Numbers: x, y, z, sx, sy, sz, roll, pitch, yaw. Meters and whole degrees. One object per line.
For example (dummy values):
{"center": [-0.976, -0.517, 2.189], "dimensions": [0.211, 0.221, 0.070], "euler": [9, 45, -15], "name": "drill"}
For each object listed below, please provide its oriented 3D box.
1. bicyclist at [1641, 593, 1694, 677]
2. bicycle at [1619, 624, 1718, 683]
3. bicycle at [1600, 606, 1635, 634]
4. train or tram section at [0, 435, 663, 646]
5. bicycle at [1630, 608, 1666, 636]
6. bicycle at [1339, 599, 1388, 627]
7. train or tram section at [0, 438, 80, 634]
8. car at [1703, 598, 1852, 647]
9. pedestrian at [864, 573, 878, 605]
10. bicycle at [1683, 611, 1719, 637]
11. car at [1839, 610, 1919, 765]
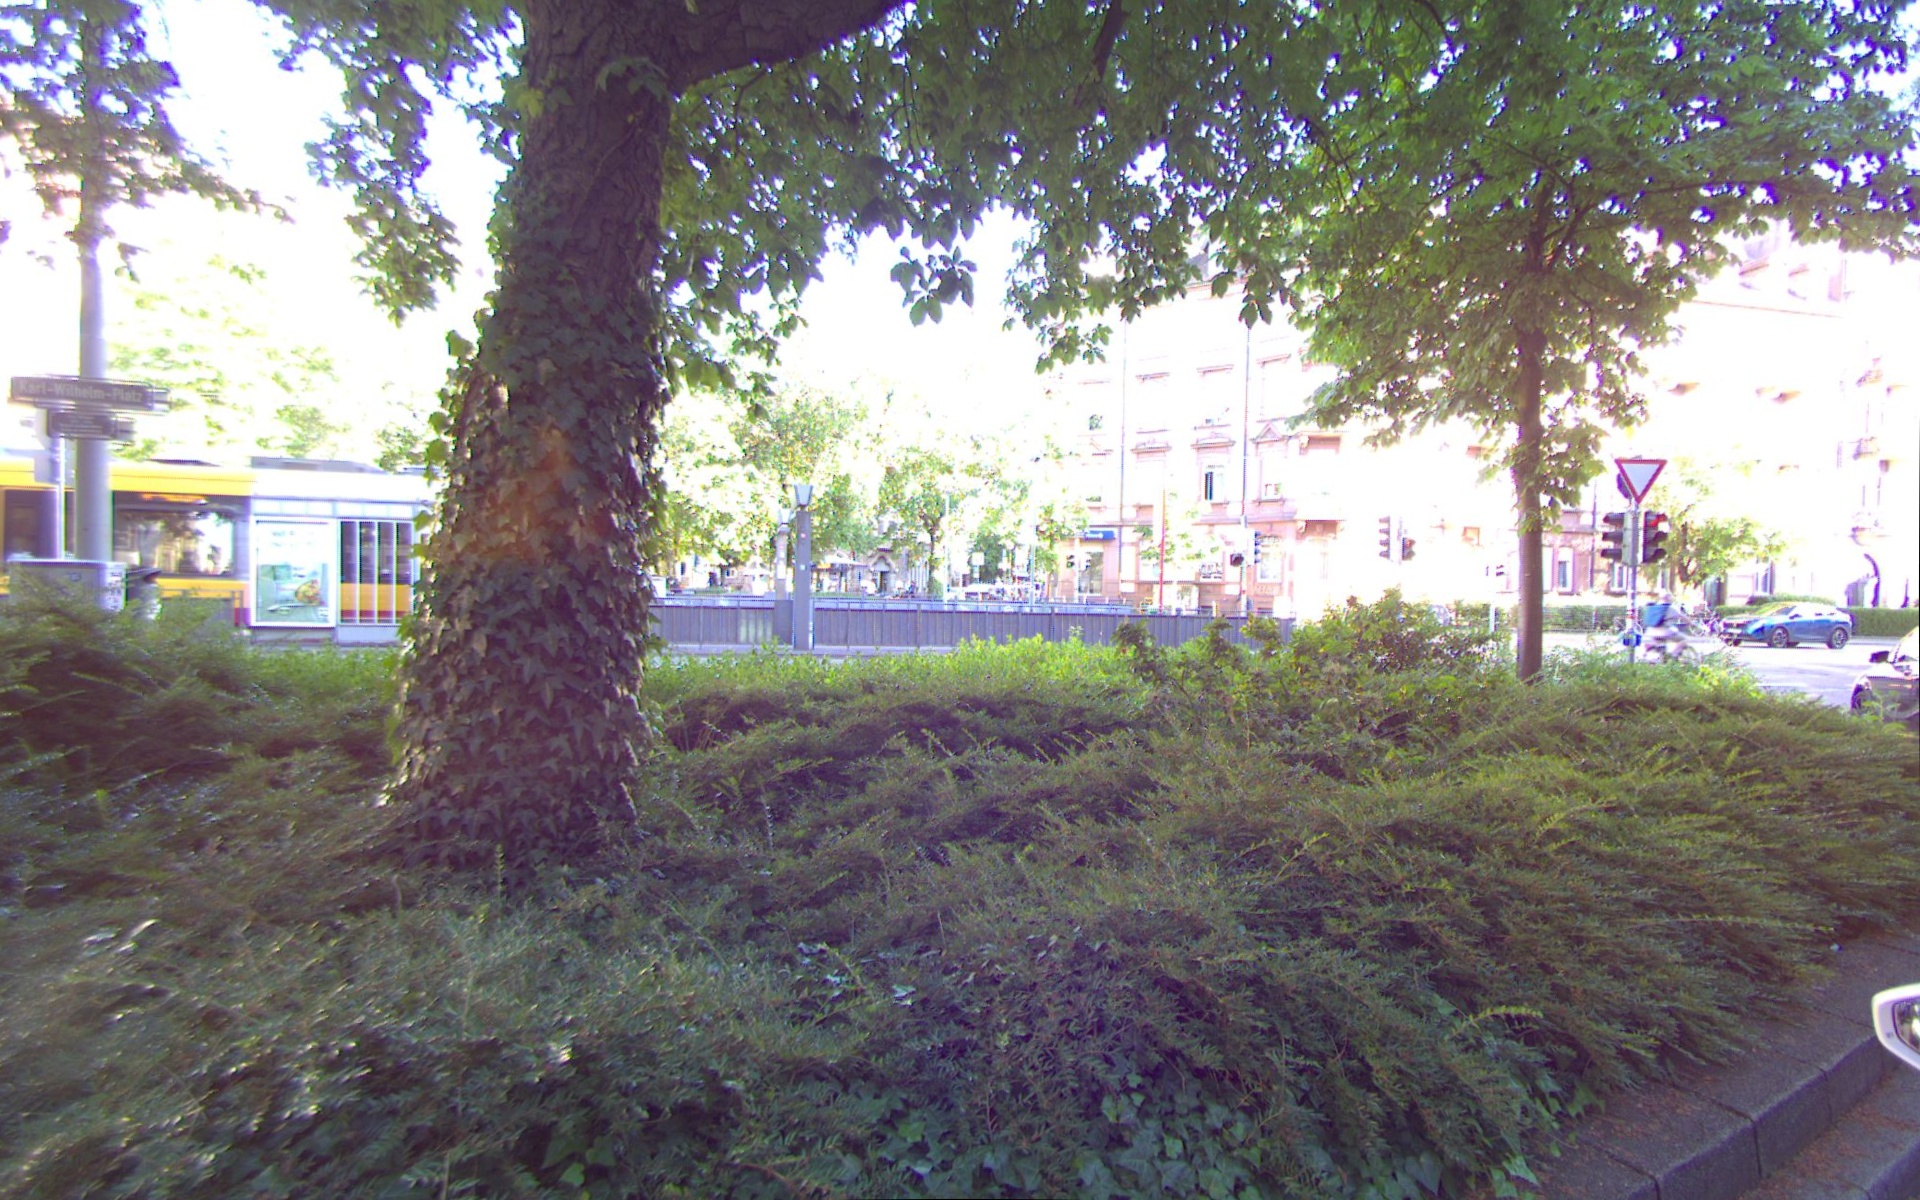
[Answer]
{"center": [13.997, 0.687, 19.884], "dimensions": [0.664, 1.619, 0.528], "euler": [1, 1, -19], "name": "bicyclist"}
{"center": [14.043, 1.053, 19.905], "dimensions": [1.936, 1.122, 0.533], "euler": [1, 1, -19], "name": "bicycle"}
{"center": [27.668, 0.850, 42.291], "dimensions": [1.210, 1.122, 0.442], "euler": [1, 2, -7], "name": "bicycle"}
{"center": [-12.339, -1.050, 20.813], "dimensions": [11.598, 3.668, 2.793], "euler": [1, 1, -13], "name": "train or tram section"}
{"center": [29.045, 0.928, 42.413], "dimensions": [1.210, 1.122, 0.442], "euler": [1, 2, -7], "name": "bicycle"}
{"center": [17.563, 0.558, 43.758], "dimensions": [1.928, 1.122, 0.443], "euler": [3, 2, 21], "name": "bicycle"}
{"center": [-23.899, -1.344, 18.076], "dimensions": [12.207, 3.635, 2.779], "euler": [1, 1, -13], "name": "train or tram section"}
{"center": [29.994, 0.812, 36.877], "dimensions": [4.333, 1.672, 1.944], "euler": [1, 1, -12], "name": "car"}
{"center": [-5.787, -0.723, 65.267], "dimensions": [0.700, 2.040, 0.740], "euler": [2, 0, 11], "name": "pedestrian"}
{"center": [31.573, 1.011, 42.807], "dimensions": [1.211, 1.052, 0.442], "euler": [1, 2, -8], "name": "bicycle"}
{"center": [10.775, 0.894, 10.268], "dimensions": [1.762, 1.562, 3.855], "euler": [0, 0, 27], "name": "car"}
